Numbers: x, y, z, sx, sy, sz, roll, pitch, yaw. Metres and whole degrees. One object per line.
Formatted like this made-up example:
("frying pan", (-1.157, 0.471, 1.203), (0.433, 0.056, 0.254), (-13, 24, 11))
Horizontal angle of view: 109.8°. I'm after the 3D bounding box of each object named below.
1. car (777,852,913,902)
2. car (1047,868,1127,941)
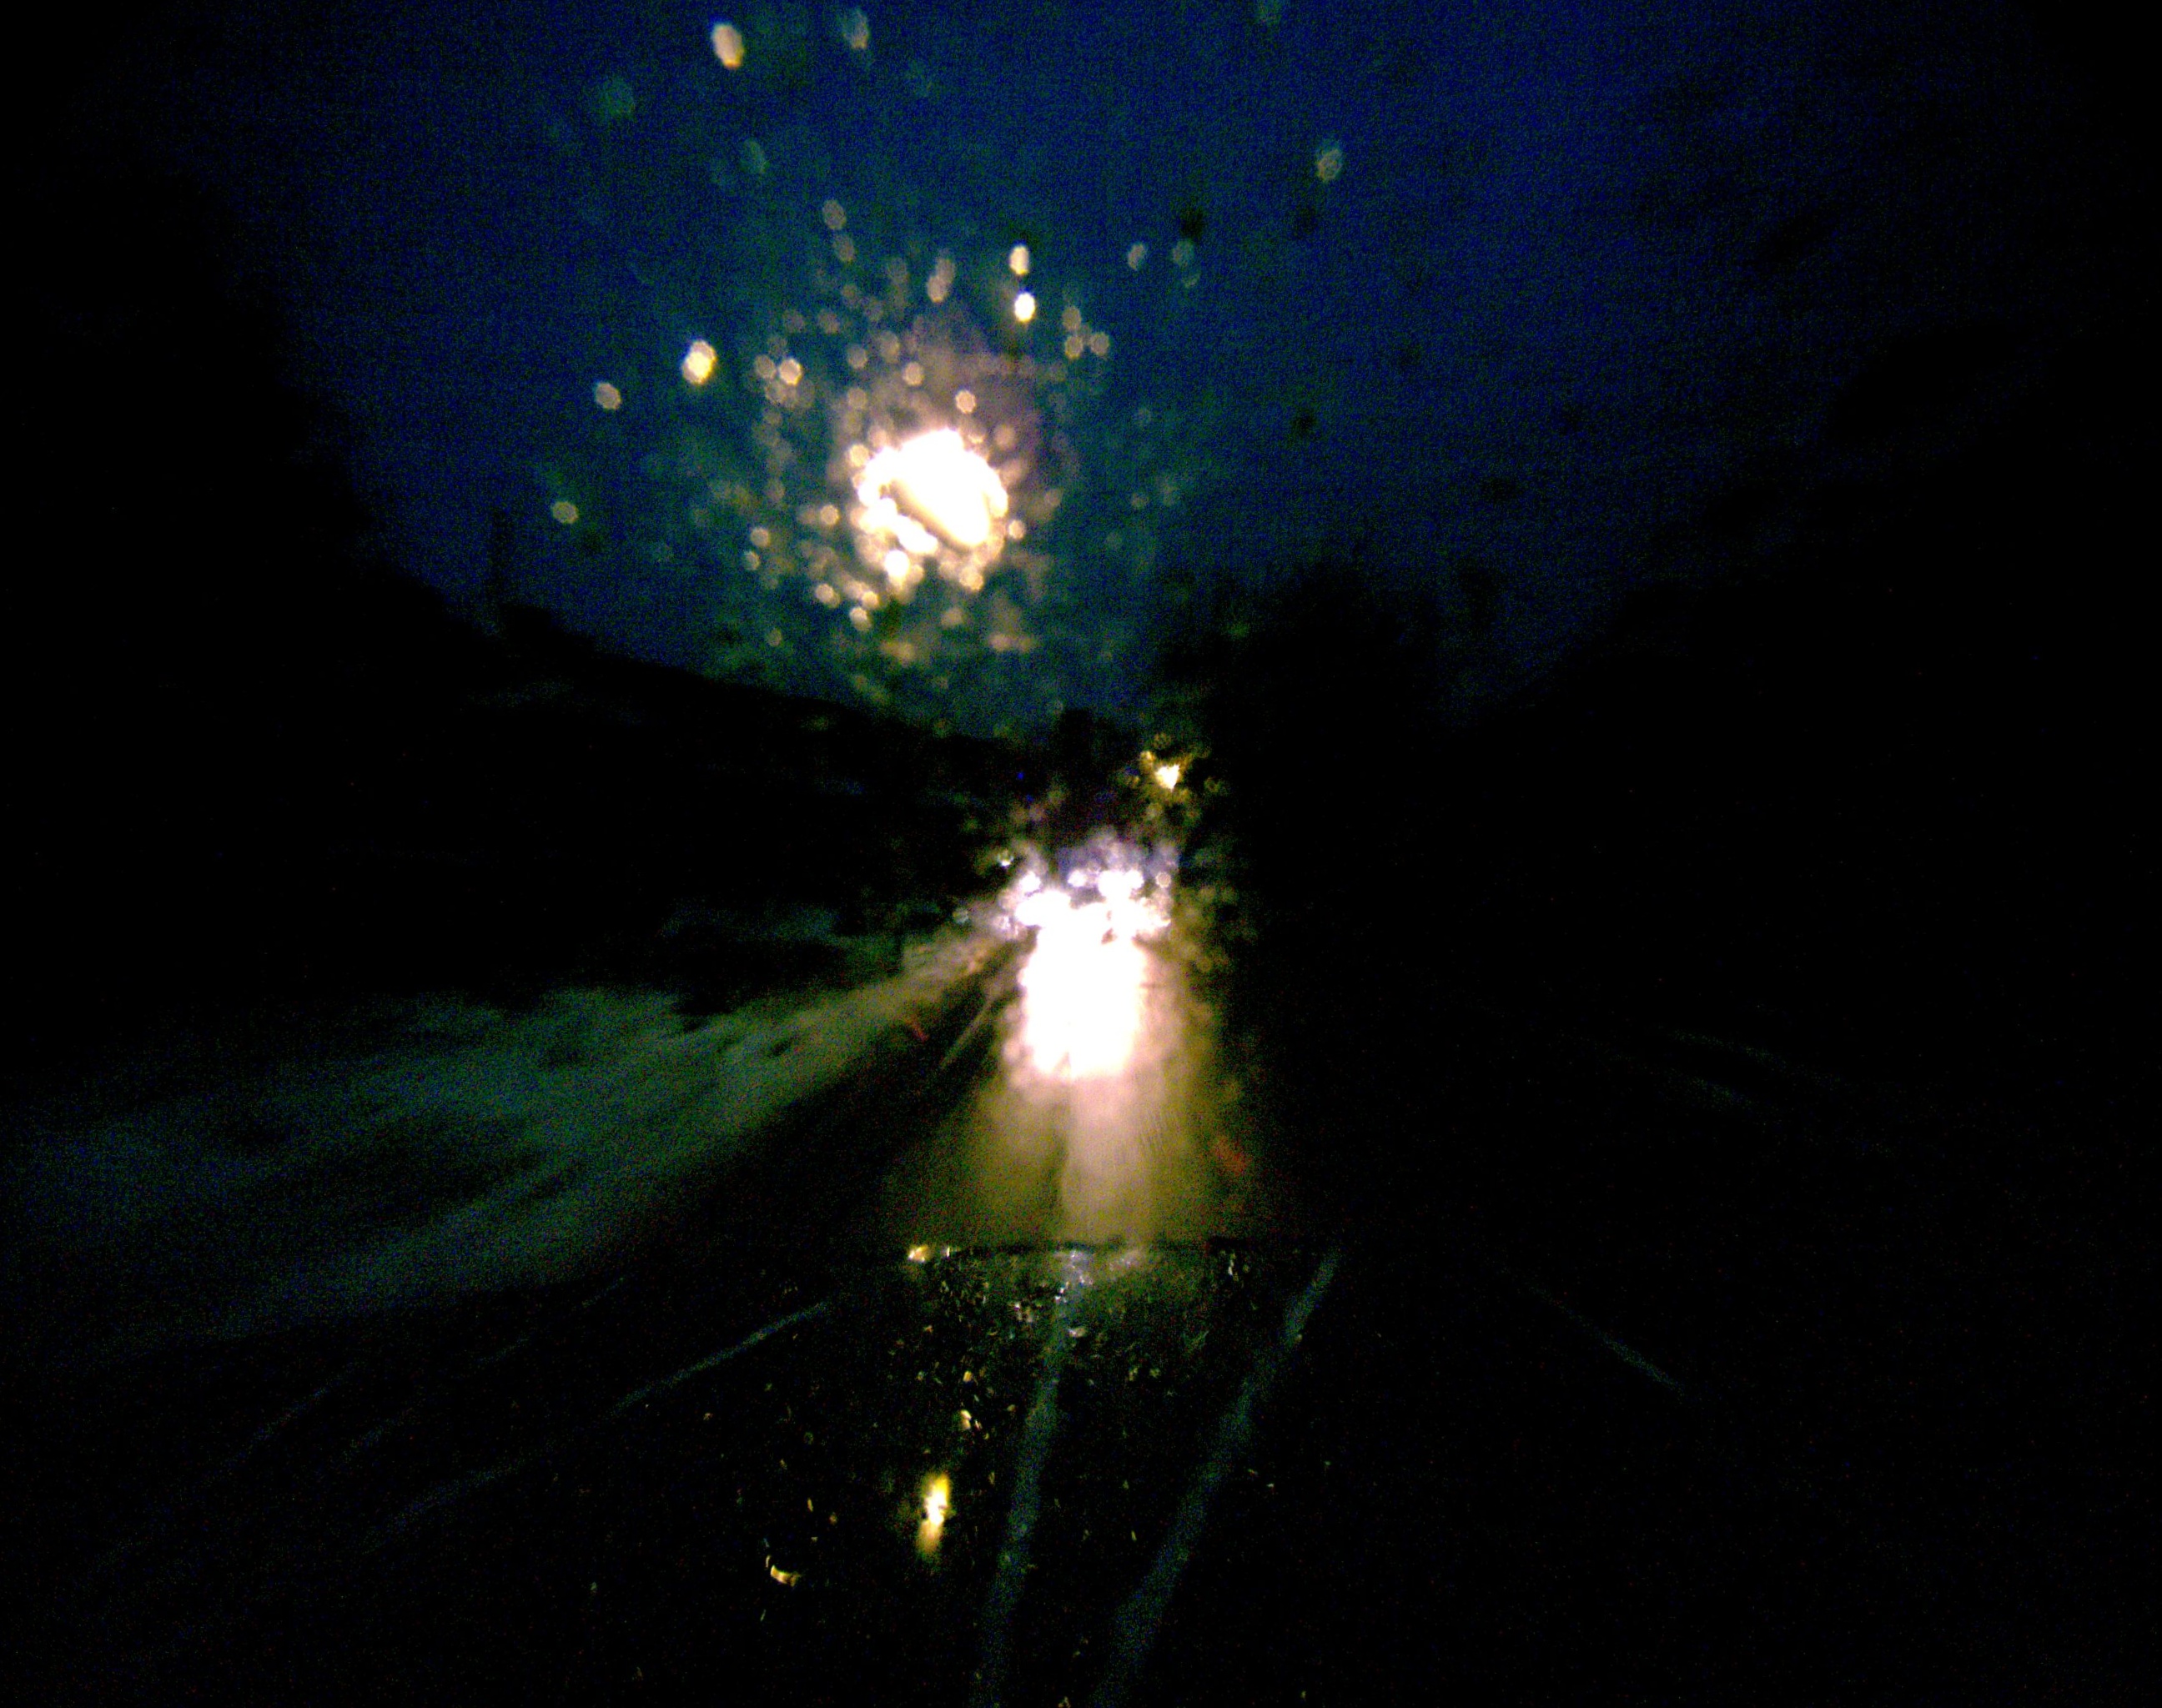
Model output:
("car", (-8.754, 0.850, 28.318), (4.403, 1.647, 1.864), (2, -1, 9))
("car", (0.184, 1.096, 17.701), (1.649, 1.446, 3.681), (1, 0, 2))
